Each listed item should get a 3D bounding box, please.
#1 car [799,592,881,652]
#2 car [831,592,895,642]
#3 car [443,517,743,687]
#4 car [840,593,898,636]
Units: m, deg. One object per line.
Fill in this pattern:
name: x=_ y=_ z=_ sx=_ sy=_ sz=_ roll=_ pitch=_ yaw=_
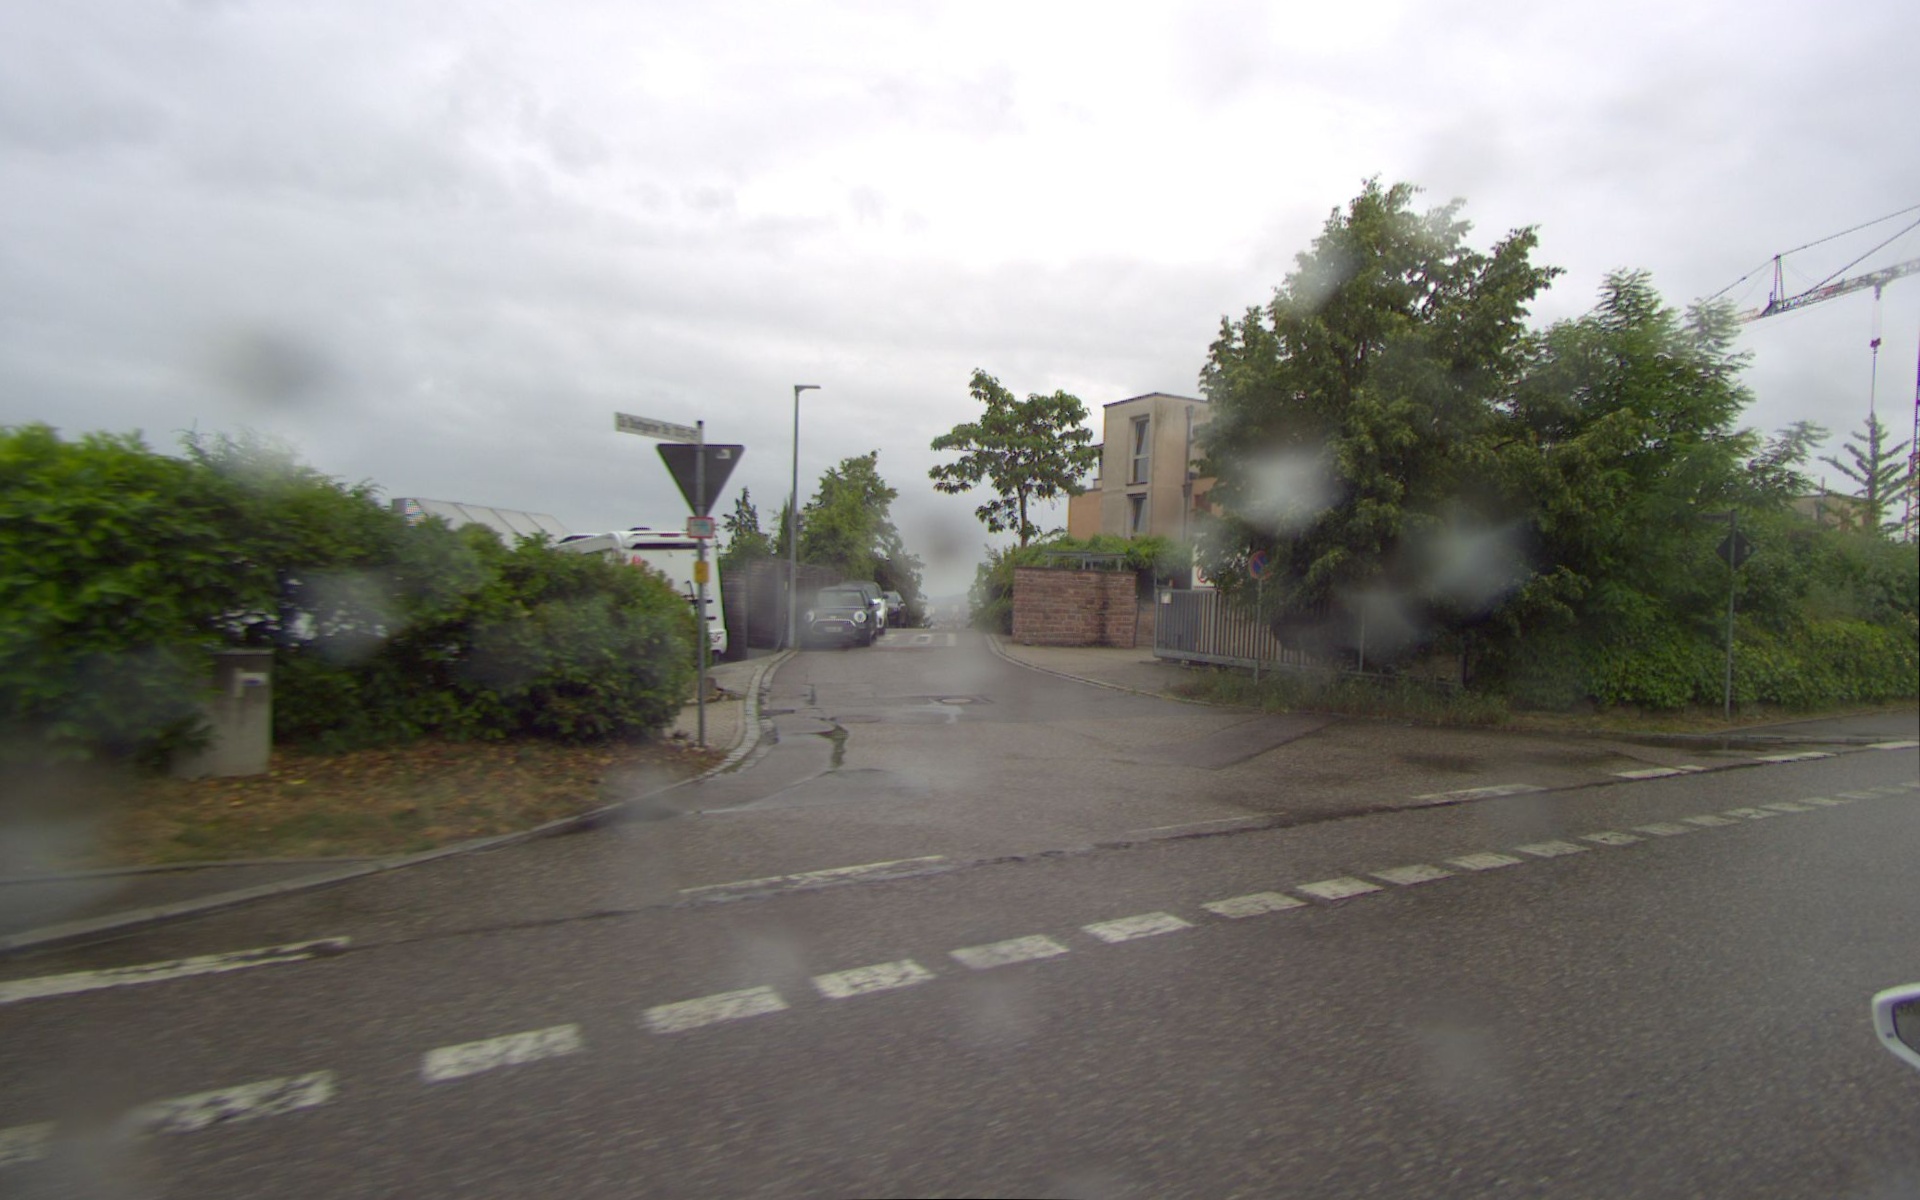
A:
car: x=-2.993 y=0.518 z=25.785 sx=1.838 sy=1.381 sz=3.998 roll=1 pitch=0 yaw=-4
car: x=-2.900 y=0.477 z=30.662 sx=1.714 sy=1.392 sz=3.880 roll=1 pitch=0 yaw=-3
car: x=-8.063 y=0.271 z=21.479 sx=7.418 sy=2.918 sz=2.811 roll=-5 pitch=-5 yaw=41
car: x=-3.154 y=0.452 z=35.718 sx=1.714 sy=1.392 sz=4.557 roll=1 pitch=0 yaw=-1
